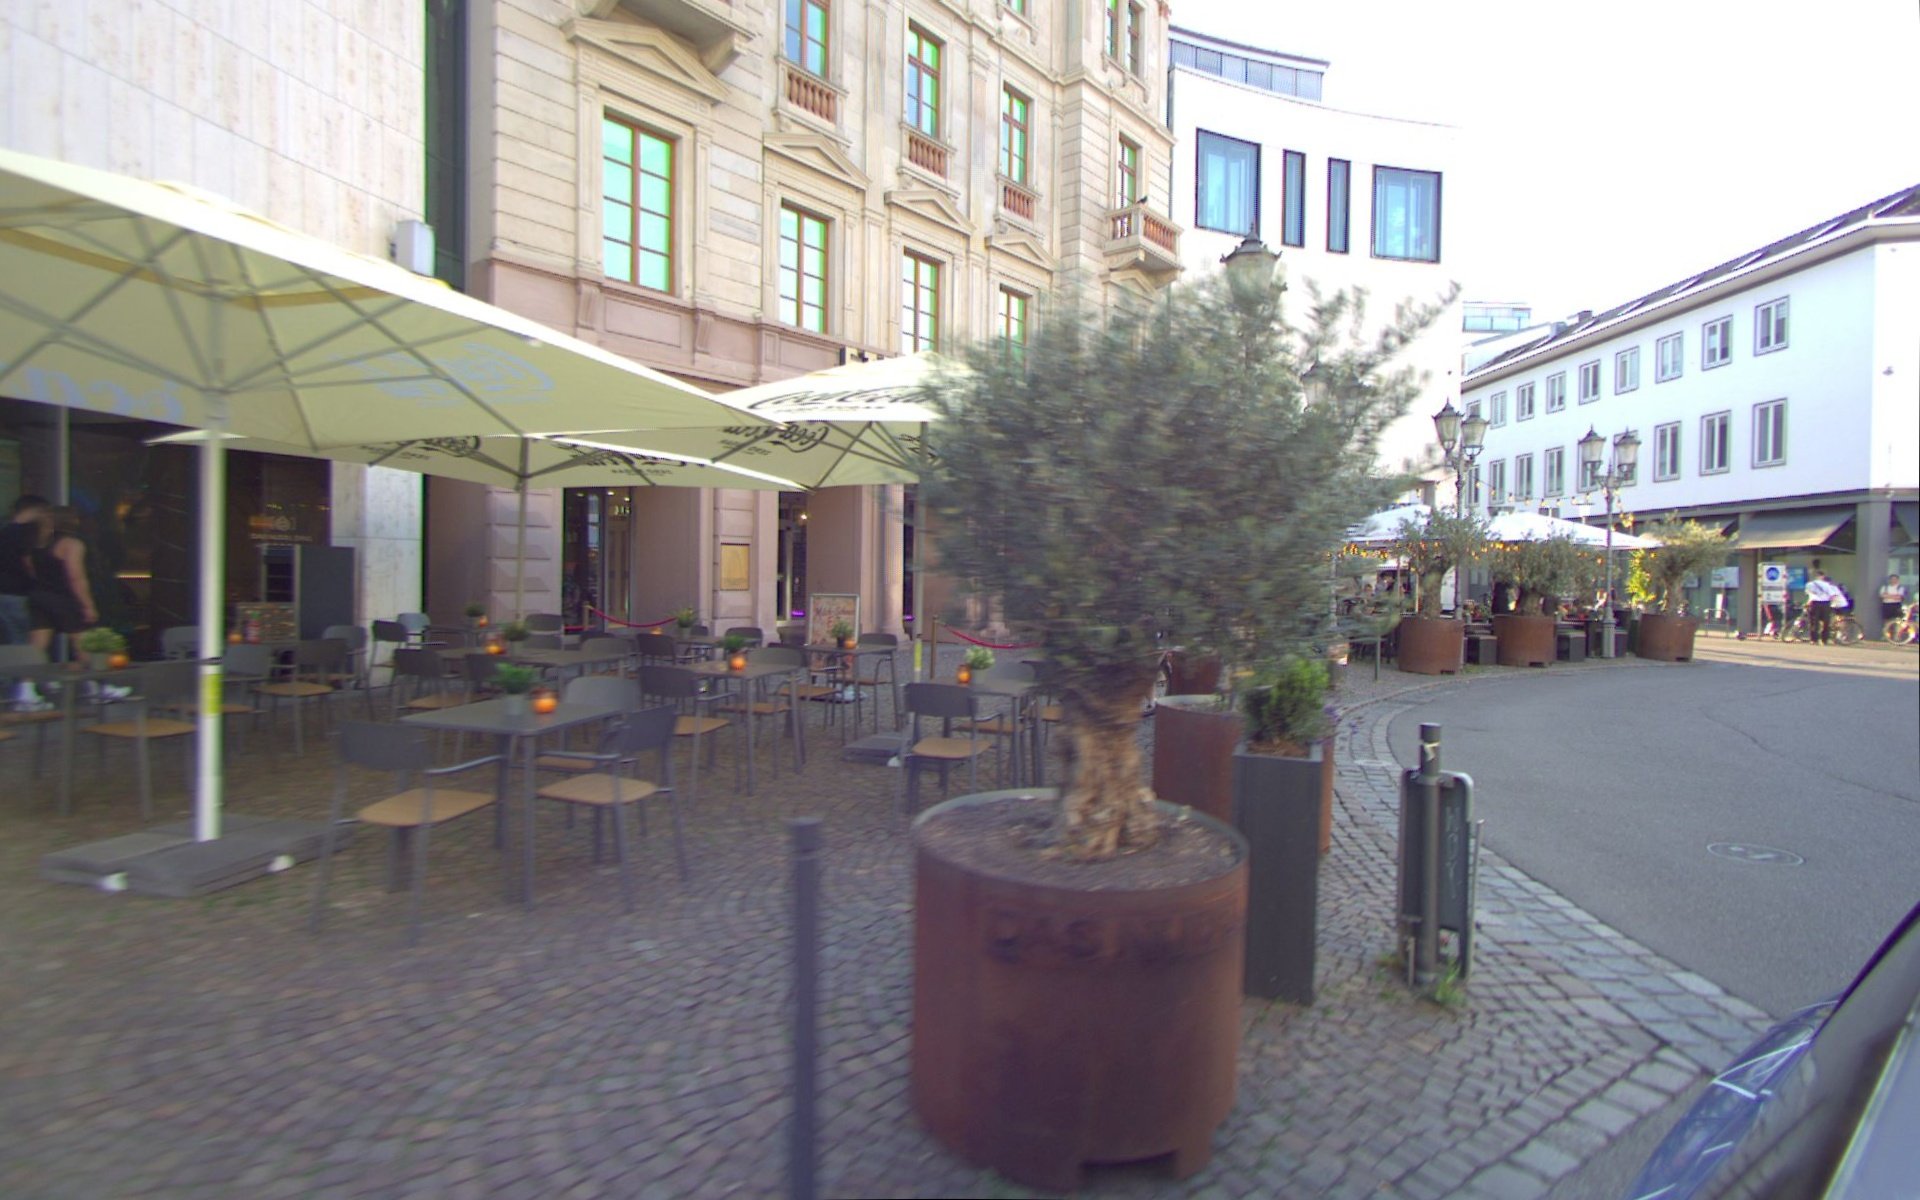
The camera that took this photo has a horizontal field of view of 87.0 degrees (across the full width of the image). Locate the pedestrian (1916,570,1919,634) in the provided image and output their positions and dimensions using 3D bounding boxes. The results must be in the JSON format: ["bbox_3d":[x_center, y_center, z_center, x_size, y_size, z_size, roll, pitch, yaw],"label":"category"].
[{"bbox_3d":[25.691,0.057,26.530,0.718,1.697,0.621,0,1,-20],"label":"pedestrian"}]

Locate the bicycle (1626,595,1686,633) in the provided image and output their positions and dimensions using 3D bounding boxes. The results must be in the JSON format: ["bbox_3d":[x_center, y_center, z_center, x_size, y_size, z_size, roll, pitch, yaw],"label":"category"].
[{"bbox_3d":[22.875,0.441,33.312,0.512,1.156,1.966,1,1,-4],"label":"bicycle"}]

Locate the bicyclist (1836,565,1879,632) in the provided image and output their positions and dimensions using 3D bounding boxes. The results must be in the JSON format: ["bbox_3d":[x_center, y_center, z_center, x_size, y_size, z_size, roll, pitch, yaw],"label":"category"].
[{"bbox_3d":[23.690,-0.040,26.723,0.817,1.765,0.483,0,1,-19],"label":"bicyclist"}]

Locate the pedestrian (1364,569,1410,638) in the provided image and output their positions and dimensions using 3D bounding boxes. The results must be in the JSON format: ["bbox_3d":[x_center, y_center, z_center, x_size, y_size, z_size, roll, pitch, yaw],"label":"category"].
[{"bbox_3d":[11.544,0.094,27.373,0.832,1.825,0.731,1,0,-13],"label":"pedestrian"}]

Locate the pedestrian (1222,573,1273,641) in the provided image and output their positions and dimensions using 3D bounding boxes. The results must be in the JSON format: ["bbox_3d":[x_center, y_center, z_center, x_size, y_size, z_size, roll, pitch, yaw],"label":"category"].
[{"bbox_3d":[6.348,0.149,22.369,0.835,1.465,0.776,1,1,-7],"label":"pedestrian"}]

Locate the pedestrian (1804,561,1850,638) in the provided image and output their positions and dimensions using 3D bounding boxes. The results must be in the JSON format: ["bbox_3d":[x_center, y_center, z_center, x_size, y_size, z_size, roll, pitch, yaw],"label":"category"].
[{"bbox_3d":[22.319,-0.031,26.061,0.616,1.952,0.645,1,1,2],"label":"pedestrian"}]

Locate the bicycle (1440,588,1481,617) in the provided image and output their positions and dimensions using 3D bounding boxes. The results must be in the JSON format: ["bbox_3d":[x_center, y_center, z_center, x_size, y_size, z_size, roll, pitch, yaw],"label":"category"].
[{"bbox_3d":[22.834,0.096,46.207,0.784,1.232,2.232,1,1,2],"label":"bicycle"}]

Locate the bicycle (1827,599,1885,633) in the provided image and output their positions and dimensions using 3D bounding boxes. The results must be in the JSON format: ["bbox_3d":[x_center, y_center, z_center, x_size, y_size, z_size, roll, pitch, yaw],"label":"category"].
[{"bbox_3d":[23.688,0.423,26.749,1.452,0.859,0.483,0,1,-19],"label":"bicycle"}]

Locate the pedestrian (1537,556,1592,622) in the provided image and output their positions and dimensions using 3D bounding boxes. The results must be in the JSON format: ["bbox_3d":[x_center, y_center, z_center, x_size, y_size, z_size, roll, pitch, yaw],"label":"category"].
[{"bbox_3d":[16.536,-0.298,27.703,0.902,1.762,0.936,0,1,-25],"label":"pedestrian"}]

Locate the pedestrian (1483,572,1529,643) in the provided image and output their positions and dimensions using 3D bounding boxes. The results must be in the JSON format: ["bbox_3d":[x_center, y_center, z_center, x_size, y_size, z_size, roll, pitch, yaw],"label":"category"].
[{"bbox_3d":[13.836,0.170,25.644,0.695,1.769,0.718,0,1,-24],"label":"pedestrian"}]

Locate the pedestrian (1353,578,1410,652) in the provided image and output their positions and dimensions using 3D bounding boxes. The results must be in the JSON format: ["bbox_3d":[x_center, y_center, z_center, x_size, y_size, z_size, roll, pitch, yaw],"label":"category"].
[{"bbox_3d":[8.634,0.294,20.763,0.850,1.465,0.723,1,1,3],"label":"pedestrian"}]

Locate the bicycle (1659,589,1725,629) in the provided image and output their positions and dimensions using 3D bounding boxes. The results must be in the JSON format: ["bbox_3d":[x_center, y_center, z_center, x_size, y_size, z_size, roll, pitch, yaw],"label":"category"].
[{"bbox_3d":[22.688,0.260,31.416,0.512,1.156,1.966,1,1,-4],"label":"bicycle"}]

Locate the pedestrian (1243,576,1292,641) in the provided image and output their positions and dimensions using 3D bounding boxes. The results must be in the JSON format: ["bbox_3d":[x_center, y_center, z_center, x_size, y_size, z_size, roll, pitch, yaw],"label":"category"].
[{"bbox_3d":[7.095,0.181,23.394,0.835,1.465,0.776,1,1,-6],"label":"pedestrian"}]

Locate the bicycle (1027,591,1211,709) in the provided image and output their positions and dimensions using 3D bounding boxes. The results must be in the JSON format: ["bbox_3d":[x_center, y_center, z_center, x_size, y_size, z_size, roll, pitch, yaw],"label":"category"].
[{"bbox_3d":[1.690,0.524,10.985,1.872,1.142,0.607,3,1,4],"label":"bicycle"}]

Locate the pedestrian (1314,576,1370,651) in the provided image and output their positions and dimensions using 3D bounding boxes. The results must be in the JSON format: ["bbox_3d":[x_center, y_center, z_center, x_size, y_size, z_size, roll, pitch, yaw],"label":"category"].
[{"bbox_3d":[7.711,0.264,20.467,0.850,1.465,0.723,1,1,3],"label":"pedestrian"}]

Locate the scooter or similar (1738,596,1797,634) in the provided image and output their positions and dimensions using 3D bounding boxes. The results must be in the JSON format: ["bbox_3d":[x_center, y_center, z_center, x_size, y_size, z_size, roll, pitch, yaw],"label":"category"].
[{"bbox_3d":[22.509,0.408,28.227,1.185,1.024,0.486,1,1,10],"label":"scooter or similar"}]

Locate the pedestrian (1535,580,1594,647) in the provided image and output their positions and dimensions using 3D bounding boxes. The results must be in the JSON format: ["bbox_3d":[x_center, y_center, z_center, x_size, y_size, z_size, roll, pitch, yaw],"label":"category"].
[{"bbox_3d":[13.422,0.291,22.481,0.850,1.465,0.723,1,1,3],"label":"pedestrian"}]

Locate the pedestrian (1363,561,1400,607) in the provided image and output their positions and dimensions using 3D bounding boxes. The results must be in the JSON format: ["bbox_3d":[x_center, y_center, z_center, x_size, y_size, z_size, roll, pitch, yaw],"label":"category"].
[{"bbox_3d":[12.733,-0.476,30.597,0.768,1.365,0.711,1,1,-7],"label":"pedestrian"}]

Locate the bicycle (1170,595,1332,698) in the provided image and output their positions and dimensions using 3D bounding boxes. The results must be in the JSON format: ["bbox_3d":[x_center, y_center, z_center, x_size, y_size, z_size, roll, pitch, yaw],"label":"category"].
[{"bbox_3d":[3.660,0.561,12.823,1.879,1.142,0.604,3,1,15],"label":"bicycle"}]

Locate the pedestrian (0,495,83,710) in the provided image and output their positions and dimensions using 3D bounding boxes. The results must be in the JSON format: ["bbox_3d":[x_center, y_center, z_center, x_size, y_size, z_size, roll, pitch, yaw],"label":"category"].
[{"bbox_3d":[-8.656,0.013,9.252,0.657,1.885,0.718,1,1,1],"label":"pedestrian"}]

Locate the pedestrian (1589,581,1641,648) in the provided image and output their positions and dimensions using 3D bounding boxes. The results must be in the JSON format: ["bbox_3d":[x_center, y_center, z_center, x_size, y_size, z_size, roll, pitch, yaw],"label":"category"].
[{"bbox_3d":[14.496,0.307,22.412,0.681,1.465,0.723,1,1,3],"label":"pedestrian"}]

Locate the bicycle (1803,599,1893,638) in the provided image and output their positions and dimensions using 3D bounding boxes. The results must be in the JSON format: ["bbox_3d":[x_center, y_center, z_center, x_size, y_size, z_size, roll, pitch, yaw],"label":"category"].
[{"bbox_3d":[22.633,0.461,25.820,1.654,0.946,0.472,1,1,16],"label":"bicycle"}]

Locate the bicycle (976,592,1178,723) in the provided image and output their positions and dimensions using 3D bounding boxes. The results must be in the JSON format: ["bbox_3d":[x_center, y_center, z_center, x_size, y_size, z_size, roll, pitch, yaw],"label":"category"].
[{"bbox_3d":[1.125,0.546,9.989,1.872,1.142,0.607,3,1,4],"label":"bicycle"}]

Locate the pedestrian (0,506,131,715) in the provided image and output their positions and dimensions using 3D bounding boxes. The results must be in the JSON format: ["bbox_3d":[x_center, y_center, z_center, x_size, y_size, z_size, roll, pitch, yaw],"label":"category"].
[{"bbox_3d":[-7.958,0.080,8.958,0.657,1.767,0.718,1,1,1],"label":"pedestrian"}]

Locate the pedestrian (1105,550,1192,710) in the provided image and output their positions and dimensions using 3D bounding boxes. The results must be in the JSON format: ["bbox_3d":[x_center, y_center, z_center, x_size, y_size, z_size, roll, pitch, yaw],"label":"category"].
[{"bbox_3d":[1.958,0.299,10.589,0.700,1.608,0.750,1,1,-4],"label":"pedestrian"}]

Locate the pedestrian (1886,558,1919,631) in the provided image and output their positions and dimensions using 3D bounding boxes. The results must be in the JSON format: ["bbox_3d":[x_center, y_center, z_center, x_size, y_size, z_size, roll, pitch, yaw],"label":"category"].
[{"bbox_3d":[25.598,-0.156,27.376,0.531,1.947,0.582,0,1,-20],"label":"pedestrian"}]

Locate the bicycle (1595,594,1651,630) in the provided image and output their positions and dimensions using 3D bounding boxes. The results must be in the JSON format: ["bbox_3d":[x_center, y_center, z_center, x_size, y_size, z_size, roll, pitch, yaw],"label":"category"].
[{"bbox_3d":[22.939,0.407,35.063,0.512,1.156,1.966,1,1,-4],"label":"bicycle"}]

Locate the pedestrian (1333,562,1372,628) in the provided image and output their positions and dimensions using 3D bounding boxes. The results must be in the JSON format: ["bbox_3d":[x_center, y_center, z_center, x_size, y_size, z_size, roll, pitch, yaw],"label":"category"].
[{"bbox_3d":[10.733,-0.144,27.683,0.701,1.769,0.711,1,1,-15],"label":"pedestrian"}]

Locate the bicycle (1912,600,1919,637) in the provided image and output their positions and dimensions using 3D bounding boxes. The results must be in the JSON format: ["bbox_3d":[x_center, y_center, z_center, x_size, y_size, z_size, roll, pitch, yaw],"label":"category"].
[{"bbox_3d":[25.324,0.485,25.659,1.654,0.946,0.472,1,1,16],"label":"bicycle"}]

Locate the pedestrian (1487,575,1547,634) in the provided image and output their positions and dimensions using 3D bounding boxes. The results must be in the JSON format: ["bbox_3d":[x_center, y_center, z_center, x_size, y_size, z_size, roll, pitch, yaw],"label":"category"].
[{"bbox_3d":[14.111,0.112,25.673,0.926,1.465,0.973,1,1,-6],"label":"pedestrian"}]

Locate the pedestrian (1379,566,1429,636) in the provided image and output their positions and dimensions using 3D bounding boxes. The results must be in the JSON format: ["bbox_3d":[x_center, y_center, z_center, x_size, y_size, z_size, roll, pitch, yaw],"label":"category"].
[{"bbox_3d":[11.729,0.024,26.750,0.961,1.825,0.730,1,0,-14],"label":"pedestrian"}]
